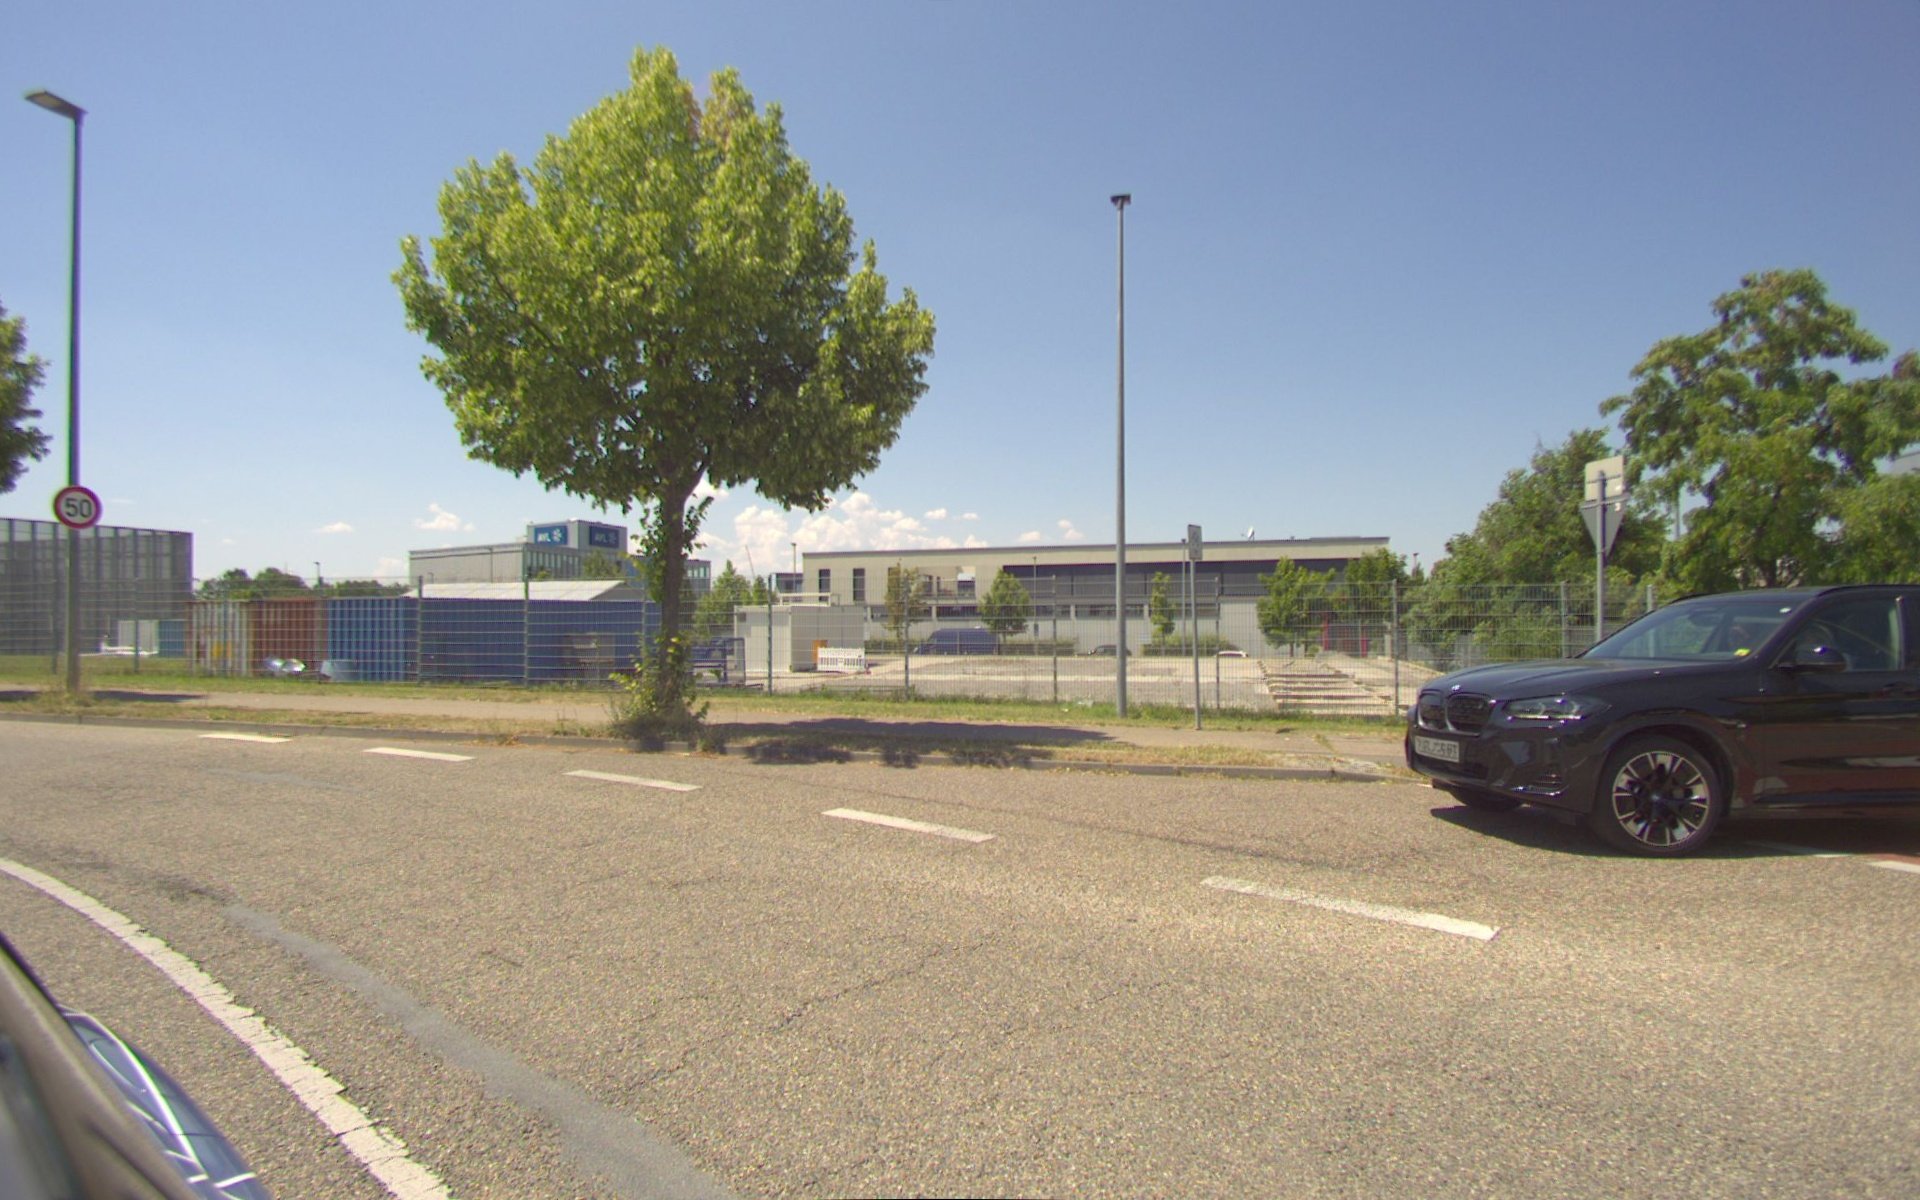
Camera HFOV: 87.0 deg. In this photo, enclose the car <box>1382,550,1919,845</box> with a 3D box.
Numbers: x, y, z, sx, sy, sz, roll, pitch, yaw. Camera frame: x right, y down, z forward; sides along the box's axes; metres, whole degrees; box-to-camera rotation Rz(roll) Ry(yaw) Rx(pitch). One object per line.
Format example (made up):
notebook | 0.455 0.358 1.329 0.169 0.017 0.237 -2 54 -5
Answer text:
car | 5.516 0.667 6.823 4.529 1.647 1.872 1 -5 -5
